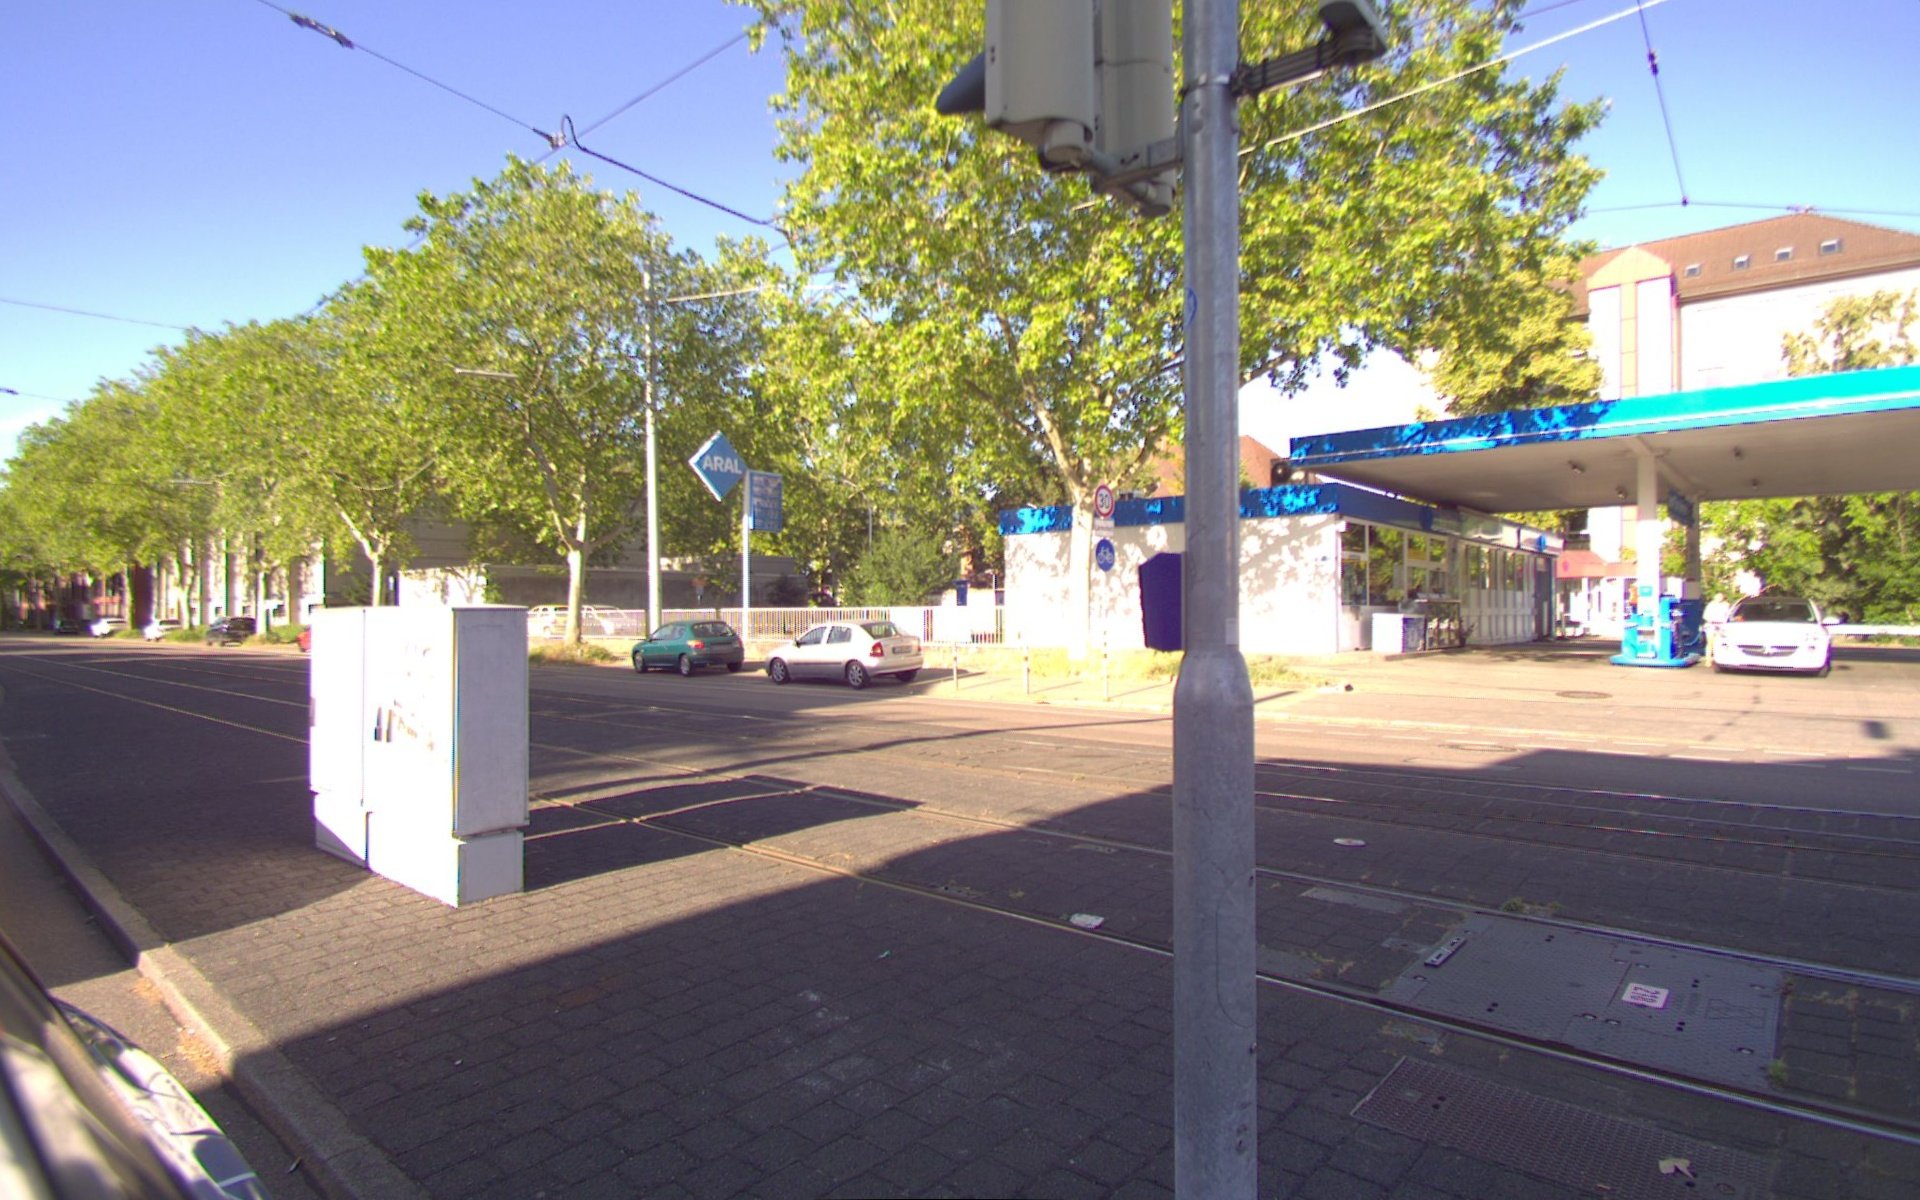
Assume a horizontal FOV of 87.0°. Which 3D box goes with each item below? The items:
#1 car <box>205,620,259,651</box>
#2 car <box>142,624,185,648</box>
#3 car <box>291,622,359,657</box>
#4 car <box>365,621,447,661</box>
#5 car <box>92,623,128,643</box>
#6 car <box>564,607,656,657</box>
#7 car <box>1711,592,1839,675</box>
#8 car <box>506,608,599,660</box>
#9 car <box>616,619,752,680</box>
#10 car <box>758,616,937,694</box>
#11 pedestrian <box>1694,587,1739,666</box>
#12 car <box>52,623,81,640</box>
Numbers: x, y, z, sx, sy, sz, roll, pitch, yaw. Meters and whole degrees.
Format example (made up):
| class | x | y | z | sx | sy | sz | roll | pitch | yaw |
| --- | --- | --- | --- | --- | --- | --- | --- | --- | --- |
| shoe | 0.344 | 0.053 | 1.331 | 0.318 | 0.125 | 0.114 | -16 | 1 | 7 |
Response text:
| class | x | y | z | sx | sy | sz | roll | pitch | yaw |
| --- | --- | --- | --- | --- | --- | --- | --- | --- | --- |
| car | -40.670 | 1.957 | 56.486 | 3.858 | 1.557 | 1.735 | -1 | 0 | 43 |
| car | -53.633 | 2.401 | 68.121 | 3.858 | 1.495 | 1.735 | -1 | 0 | 43 |
| car | -28.906 | 1.775 | 46.046 | 3.858 | 1.440 | 1.695 | -1 | 0 | 43 |
| car | -21.979 | 1.589 | 40.092 | 3.858 | 1.468 | 1.735 | -1 | 0 | 43 |
| car | -66.921 | 2.581 | 79.641 | 3.858 | 1.495 | 1.735 | -1 | 0 | 43 |
| car | -15.139 | 1.365 | 43.691 | 3.996 | 2.029 | 1.974 | -1 | -1 | 39 |
| car | 15.947 | 0.615 | 19.784 | 1.793 | 1.453 | 3.946 | -1 | -1 | 40 |
| car | -17.038 | 1.395 | 42.263 | 3.996 | 2.029 | 1.974 | -1 | -1 | 39 |
| car | -7.427 | 1.276 | 27.077 | 3.858 | 1.408 | 1.722 | -1 | 1 | 43 |
| car | -2.567 | 1.168 | 22.597 | 3.857 | 1.497 | 1.823 | -1 | 1 | 42 |
| pedestrian | 16.148 | 0.556 | 21.622 | 0.644 | 1.642 | 0.805 | -1 | -1 | 30 |
| car | -84.868 | 3.014 | 96.115 | 3.858 | 1.495 | 1.735 | -1 | 0 | 43 |
